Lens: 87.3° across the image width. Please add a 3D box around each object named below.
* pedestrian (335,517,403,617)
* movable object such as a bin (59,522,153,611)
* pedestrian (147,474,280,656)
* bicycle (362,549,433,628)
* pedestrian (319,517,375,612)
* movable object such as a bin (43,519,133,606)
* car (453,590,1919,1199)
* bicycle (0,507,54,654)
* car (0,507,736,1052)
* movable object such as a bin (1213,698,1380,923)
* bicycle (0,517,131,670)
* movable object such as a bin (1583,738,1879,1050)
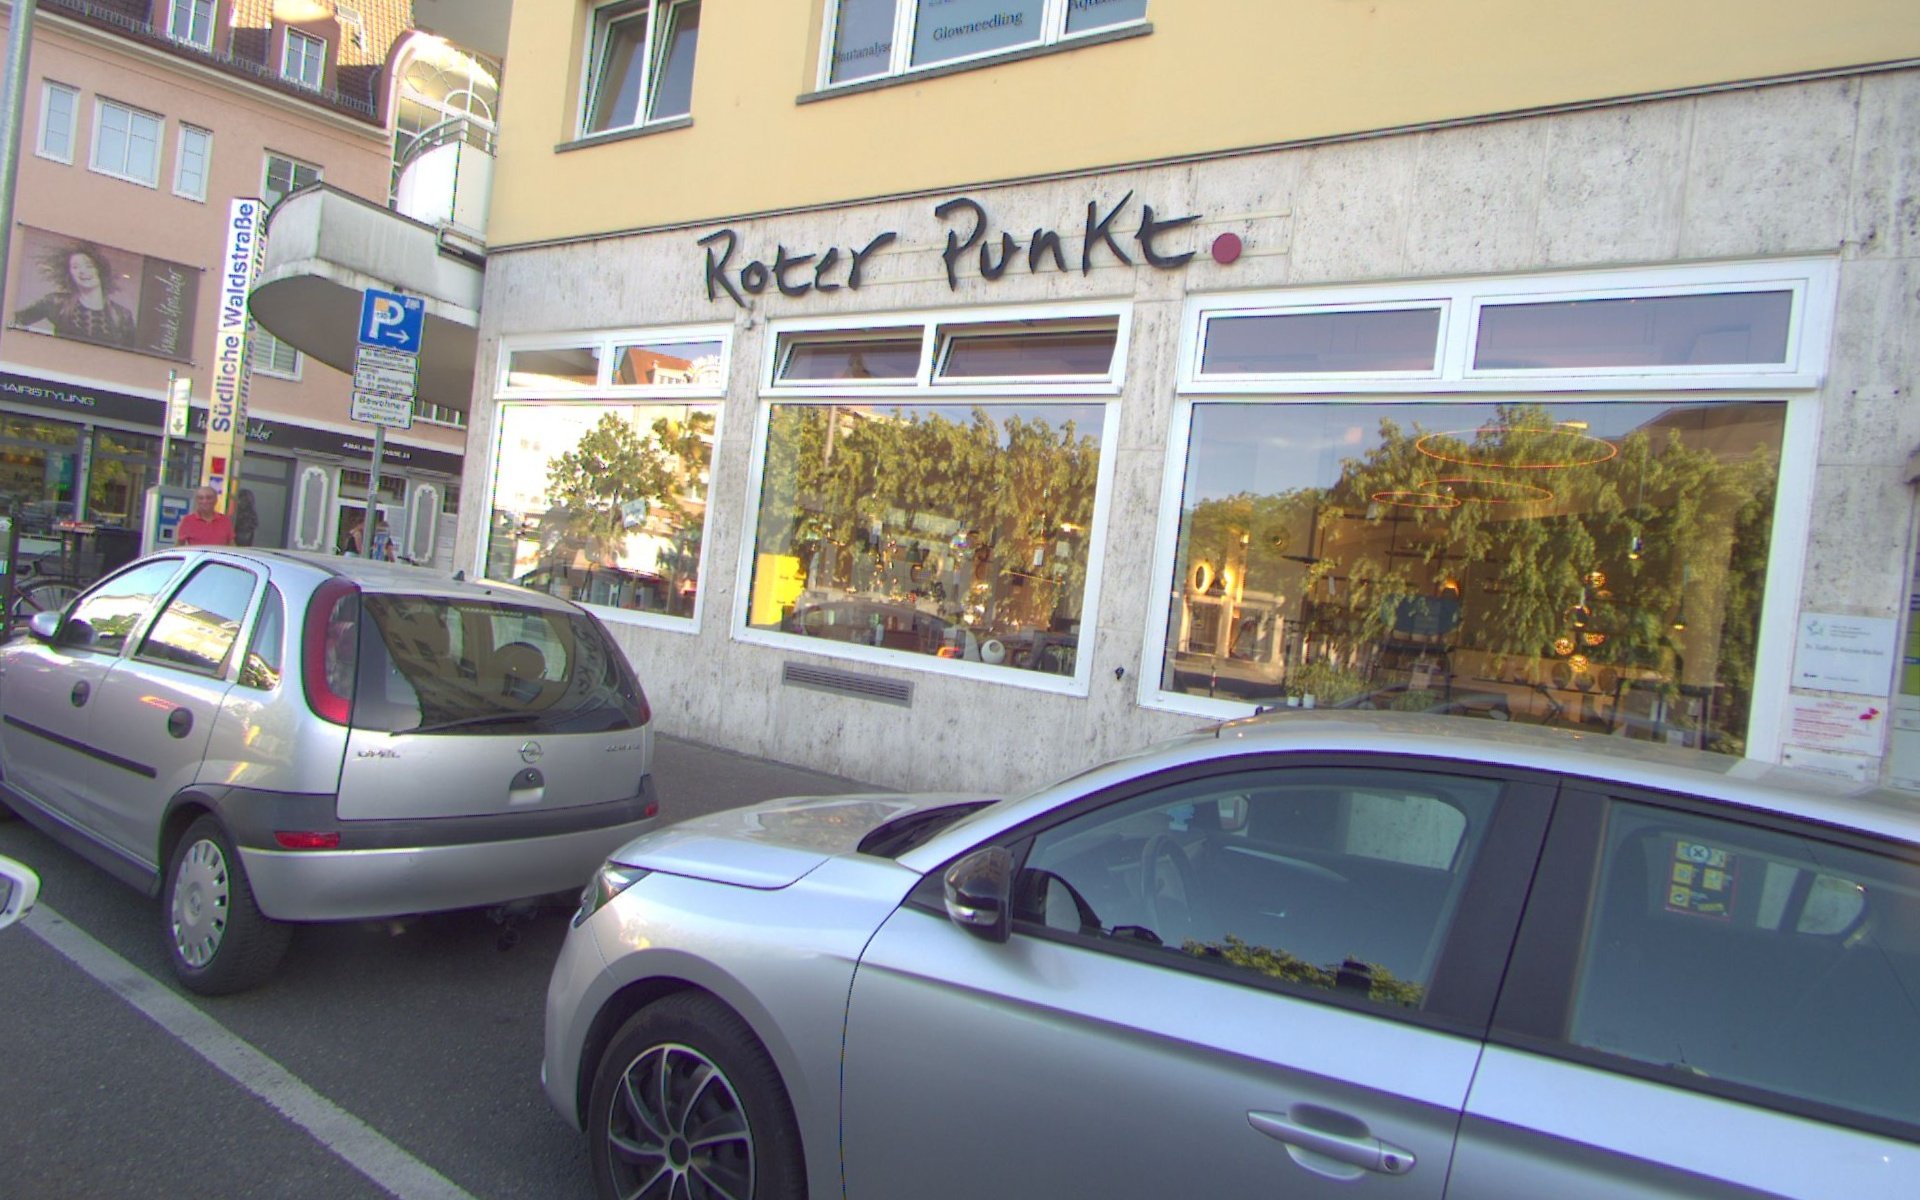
[{"bbox_3d":[-10.942,-0.596,18.652,0.727,1.734,0.707,7,0,-12],"label":"pedestrian"},{"bbox_3d":[-11.902,-0.467,14.028,0.617,1.105,0.754,6,-1,34],"label":"movable object such as a bin"},{"bbox_3d":[-7.894,-0.367,10.640,0.994,1.808,0.862,7,3,40],"label":"pedestrian"},{"bbox_3d":[-10.061,-0.230,17.951,0.656,1.213,2.187,7,-1,-39],"label":"bicycle"},{"bbox_3d":[-11.598,-0.659,19.072,0.772,1.704,0.820,5,0,-30],"label":"pedestrian"},{"bbox_3d":[-12.438,-0.525,14.348,0.617,1.105,0.734,6,-1,34],"label":"movable object such as a bin"},{"bbox_3d":[0.779,0.929,2.309,3.643,1.415,1.653,7,-1,30],"label":"car"},{"bbox_3d":[-9.110,-0.234,8.701,0.778,1.284,1.721,7,1,37],"label":"bicycle"},{"bbox_3d":[-2.942,0.482,4.461,3.583,1.397,1.616,7,-2,32],"label":"car"},{"bbox_3d":[1.853,1.093,5.492,0.592,1.041,0.811,7,0,31],"label":"movable object such as a bin"},{"bbox_3d":[-8.106,-0.082,8.227,0.681,1.208,1.885,8,1,37],"label":"bicycle"},{"bbox_3d":[3.382,1.237,4.519,0.879,1.066,0.751,7,0,32],"label":"movable object such as a bin"}]
